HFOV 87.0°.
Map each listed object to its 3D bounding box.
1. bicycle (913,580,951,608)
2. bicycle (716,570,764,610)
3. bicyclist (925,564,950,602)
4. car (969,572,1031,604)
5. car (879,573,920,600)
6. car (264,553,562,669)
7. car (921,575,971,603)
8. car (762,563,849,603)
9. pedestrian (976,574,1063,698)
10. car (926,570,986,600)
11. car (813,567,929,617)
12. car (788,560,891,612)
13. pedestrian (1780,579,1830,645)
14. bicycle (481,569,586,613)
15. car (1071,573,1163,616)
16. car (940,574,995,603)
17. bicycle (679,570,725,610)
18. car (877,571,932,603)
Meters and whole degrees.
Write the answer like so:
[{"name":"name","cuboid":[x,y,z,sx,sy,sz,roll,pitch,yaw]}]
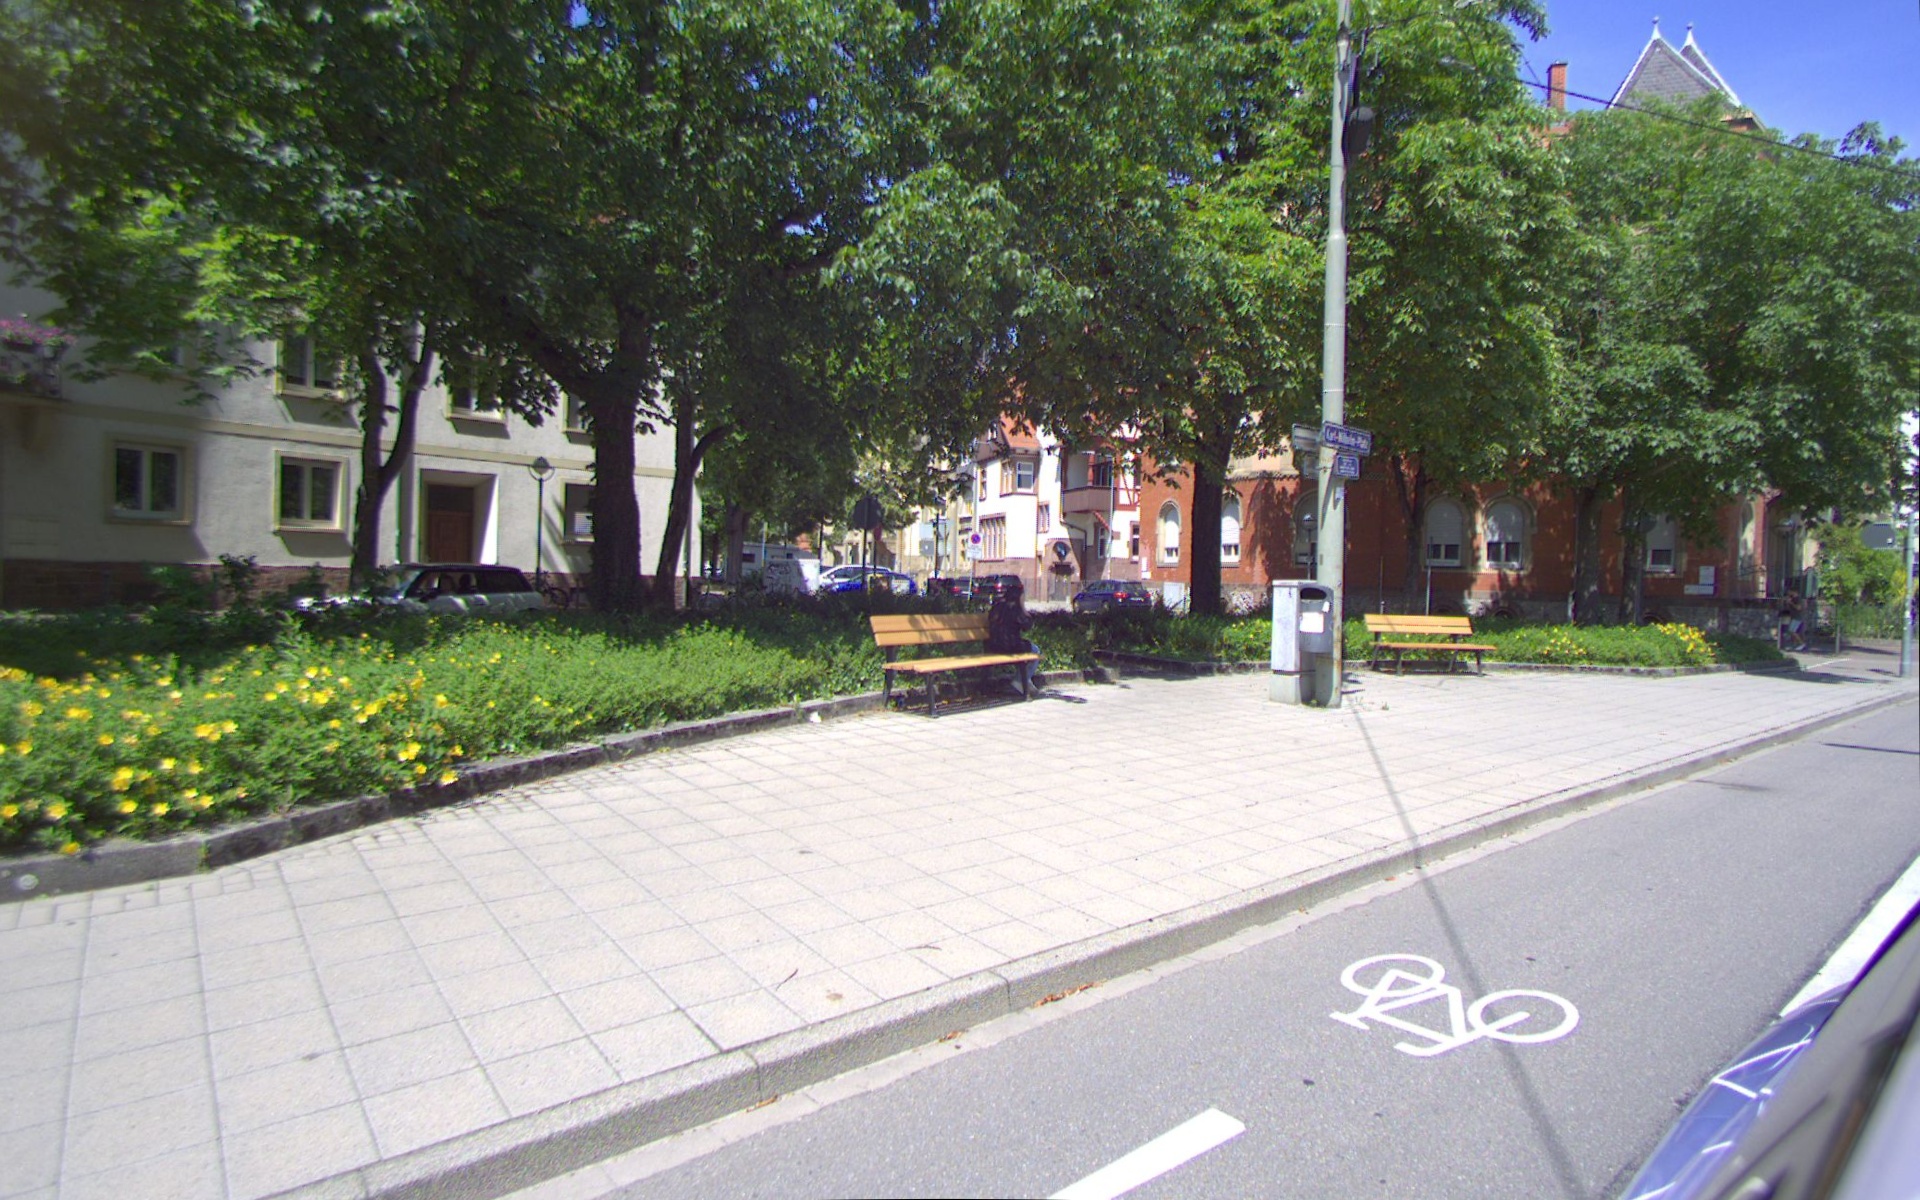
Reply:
[{"name":"bicycle","cuboid":[-1.343,-0.287,47.443,0.935,1.279,3.753,0,0,-16]},{"name":"bicycle","cuboid":[-5.867,-0.269,26.903,0.736,1.024,2.273,0,0,-26]},{"name":"bicyclist","cuboid":[-1.049,-0.760,46.414,0.856,1.717,1.257,0,0,-16]},{"name":"car","cuboid":[2.068,-0.620,54.074,1.897,1.638,4.318,0,0,-19]},{"name":"car","cuboid":[-4.500,-1.007,74.461,1.897,1.897,4.318,0,0,-19]},{"name":"car","cuboid":[-8.155,0.134,15.375,1.693,1.525,3.609,2,1,32]},{"name":"car","cuboid":[-0.917,-0.692,63.252,1.897,1.638,4.318,0,0,-19]},{"name":"car","cuboid":[-8.083,-0.884,52.937,4.219,2.029,1.942,0,0,-18]},{"name":"pedestrian","cuboid":[0.599,0.336,10.074,0.562,1.156,0.718,3,2,33]},{"name":"car","cuboid":[-0.277,-0.774,53.336,1.897,1.501,5.046,0,0,-16]},{"name":"car","cuboid":[-3.543,-0.323,40.015,4.219,1.903,1.942,0,0,-18]},{"name":"car","cuboid":[-5.370,-0.629,44.828,4.219,2.219,1.942,0,0,-18]},{"name":"pedestrian","cuboid":[24.248,0.321,29.041,0.826,1.846,0.671,2,1,13]},{"name":"bicycle","cuboid":[-10.251,-0.223,24.374,2.230,1.024,0.751,-1,0,-41]},{"name":"car","cuboid":[6.276,-0.233,41.025,1.897,1.638,4.318,0,0,-19]},{"name":"car","cuboid":[0.381,-0.655,58.681,1.897,1.638,4.318,0,0,-19]},{"name":"bicycle","cuboid":[-6.774,-0.260,26.474,0.736,1.024,2.273,0,0,-26]},{"name":"car","cuboid":[-2.983,-0.677,53.648,1.897,1.638,4.534,0,0,-16]}]
